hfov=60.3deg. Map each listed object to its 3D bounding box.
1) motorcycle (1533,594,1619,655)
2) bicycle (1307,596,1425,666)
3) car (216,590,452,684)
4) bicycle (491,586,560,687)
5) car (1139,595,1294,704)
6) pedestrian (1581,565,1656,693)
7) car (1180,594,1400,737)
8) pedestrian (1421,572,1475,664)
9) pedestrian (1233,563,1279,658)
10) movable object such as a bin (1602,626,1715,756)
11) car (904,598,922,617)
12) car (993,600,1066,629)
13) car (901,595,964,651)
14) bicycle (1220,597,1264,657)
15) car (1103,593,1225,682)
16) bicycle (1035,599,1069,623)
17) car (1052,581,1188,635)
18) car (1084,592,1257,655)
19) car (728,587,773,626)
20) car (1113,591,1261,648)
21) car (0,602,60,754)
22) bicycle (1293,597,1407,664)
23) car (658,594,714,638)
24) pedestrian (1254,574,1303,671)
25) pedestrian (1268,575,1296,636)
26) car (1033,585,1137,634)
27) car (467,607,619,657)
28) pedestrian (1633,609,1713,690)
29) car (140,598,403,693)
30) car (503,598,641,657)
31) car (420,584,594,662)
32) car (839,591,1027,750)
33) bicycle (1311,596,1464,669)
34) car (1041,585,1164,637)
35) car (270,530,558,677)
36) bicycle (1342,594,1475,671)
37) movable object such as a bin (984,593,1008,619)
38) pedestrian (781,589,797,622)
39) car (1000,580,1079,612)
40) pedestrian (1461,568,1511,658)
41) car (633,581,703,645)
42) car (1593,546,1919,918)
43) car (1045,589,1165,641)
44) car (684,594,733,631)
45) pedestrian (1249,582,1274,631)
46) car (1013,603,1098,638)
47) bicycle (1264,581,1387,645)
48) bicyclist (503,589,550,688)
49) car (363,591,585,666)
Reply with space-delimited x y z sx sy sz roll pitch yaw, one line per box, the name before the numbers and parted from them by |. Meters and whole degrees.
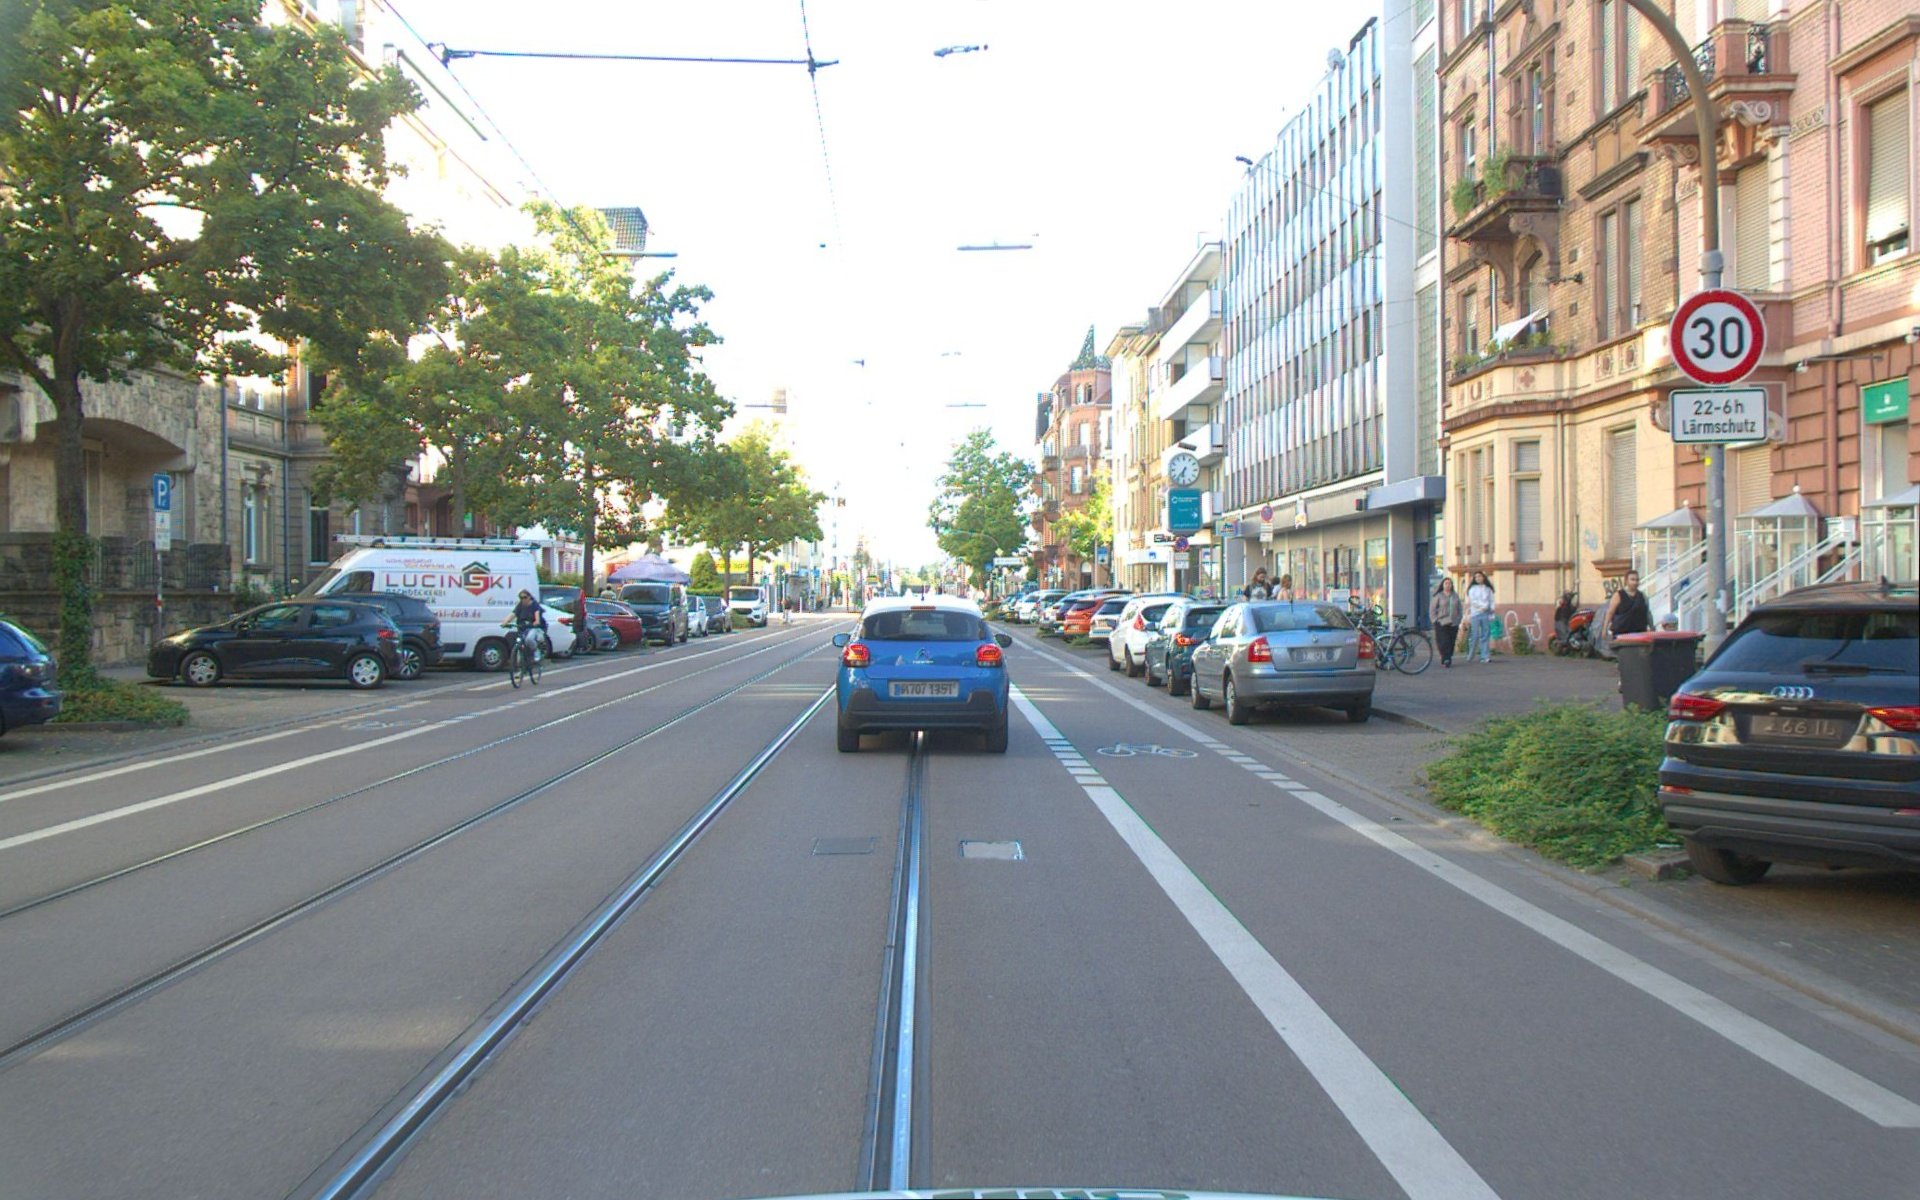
motorcycle | 10.961 0.427 29.507 0.496 1.009 2.518 -4 0 -1
bicycle | 7.330 0.559 29.928 1.978 1.243 0.663 0 0 -2
car | -11.569 0.653 30.595 3.939 1.646 1.698 0 0 -27
bicycle | -7.592 0.620 28.988 0.666 1.708 2.096 0 0 -1
car | 4.032 0.741 26.580 1.835 1.624 3.999 0 0 -1
pedestrian | 8.559 0.371 21.513 0.697 1.635 0.654 0 0 -2
car | 4.070 0.750 21.197 1.835 1.624 4.718 0 0 -1
pedestrian | 8.883 0.325 30.140 0.697 1.635 0.654 -3 0 -2
pedestrian | 5.340 0.185 29.867 0.697 1.701 0.654 0 0 -2
movable object such as a bin | 5.925 0.757 14.057 0.592 1.045 0.806 -1 0 -1
car | -3.623 0.583 127.956 1.394 1.457 3.138 0 0 -1
car | 3.795 0.794 90.210 3.601 1.561 1.778 0 0 -21
car | -0.815 0.666 49.839 1.835 1.624 3.999 0 0 -1
bicycle | 5.822 0.549 34.177 0.679 1.206 1.238 0 0 -2
car | 3.906 0.690 32.242 1.835 1.624 3.999 0 0 -1
bicycle | 4.079 0.472 73.495 0.549 1.066 1.784 0 0 -36
car | 4.774 0.230 49.296 3.686 1.547 1.945 0 0 -34
car | 5.374 0.577 42.018 4.394 1.534 1.520 0 0 -31
car | -10.442 0.320 82.615 1.794 1.880 4.213 0 0 -1
car | 6.246 0.515 45.402 3.735 1.513 1.819 0 0 -31
car | -11.267 0.777 16.562 3.943 1.515 1.789 0 0 -29
bicycle | 7.283 0.561 30.903 1.978 1.243 0.663 0 0 -2
car | -10.501 0.594 63.599 1.713 1.646 4.407 0 0 -4
pedestrian | 5.429 0.380 28.222 0.697 1.635 0.654 0 0 -2
pedestrian | 9.391 0.162 48.267 0.678 1.787 0.678 0 0 -1
car | 4.383 0.319 57.774 3.417 1.668 1.662 0 0 -38
car | -11.185 0.846 44.401 3.752 1.287 1.503 0 0 -27
pedestrian | 9.317 0.635 21.625 0.697 0.997 0.654 -4 0 -2
car | -11.499 0.740 27.923 3.924 1.515 1.797 0 0 -18
car | -11.218 0.773 47.829 3.672 1.651 1.777 0 0 -23
car | -11.230 0.557 41.053 3.939 1.848 1.698 0 0 -27
car | -0.289 0.655 17.053 1.726 1.466 3.556 0 0 -1
bicycle | 7.420 0.556 28.759 2.487 1.243 0.663 0 0 -2
car | 4.754 0.364 55.018 3.686 1.681 2.023 0 0 -34
car | -11.041 0.072 33.589 5.316 2.797 1.787 0 0 -31
bicycle | 7.436 0.531 27.478 2.015 1.243 0.663 -1 0 -3
movable object such as a bin | 2.149 0.351 99.462 1.366 1.509 1.655 0 0 -1
pedestrian | -9.005 0.295 87.090 0.720 1.756 0.623 0 0 -25
car | 4.000 -0.202 83.636 3.601 1.601 1.850 0 0 -21
pedestrian | 9.622 0.236 30.249 0.697 1.635 0.654 0 0 -2
car | -9.587 0.430 54.661 1.713 2.008 5.236 0 0 -4
car | 5.554 0.584 8.999 4.268 1.624 1.958 0 0 -36
car | 4.546 0.471 51.894 3.409 1.582 1.804 0 0 -33
car | -10.531 0.529 69.359 1.713 1.513 4.038 0 0 -4
pedestrian | 10.031 0.223 55.047 0.678 1.615 0.678 0 0 -1
car | 4.480 0.955 77.612 3.615 1.601 1.842 0 0 -30
bicycle | 7.281 0.259 33.013 2.309 1.243 0.664 0 0 2
bicyclist | -7.576 0.670 28.914 0.621 1.711 0.726 0 0 -1
car | -11.261 0.637 38.457 4.713 1.646 1.692 0 0 -34
